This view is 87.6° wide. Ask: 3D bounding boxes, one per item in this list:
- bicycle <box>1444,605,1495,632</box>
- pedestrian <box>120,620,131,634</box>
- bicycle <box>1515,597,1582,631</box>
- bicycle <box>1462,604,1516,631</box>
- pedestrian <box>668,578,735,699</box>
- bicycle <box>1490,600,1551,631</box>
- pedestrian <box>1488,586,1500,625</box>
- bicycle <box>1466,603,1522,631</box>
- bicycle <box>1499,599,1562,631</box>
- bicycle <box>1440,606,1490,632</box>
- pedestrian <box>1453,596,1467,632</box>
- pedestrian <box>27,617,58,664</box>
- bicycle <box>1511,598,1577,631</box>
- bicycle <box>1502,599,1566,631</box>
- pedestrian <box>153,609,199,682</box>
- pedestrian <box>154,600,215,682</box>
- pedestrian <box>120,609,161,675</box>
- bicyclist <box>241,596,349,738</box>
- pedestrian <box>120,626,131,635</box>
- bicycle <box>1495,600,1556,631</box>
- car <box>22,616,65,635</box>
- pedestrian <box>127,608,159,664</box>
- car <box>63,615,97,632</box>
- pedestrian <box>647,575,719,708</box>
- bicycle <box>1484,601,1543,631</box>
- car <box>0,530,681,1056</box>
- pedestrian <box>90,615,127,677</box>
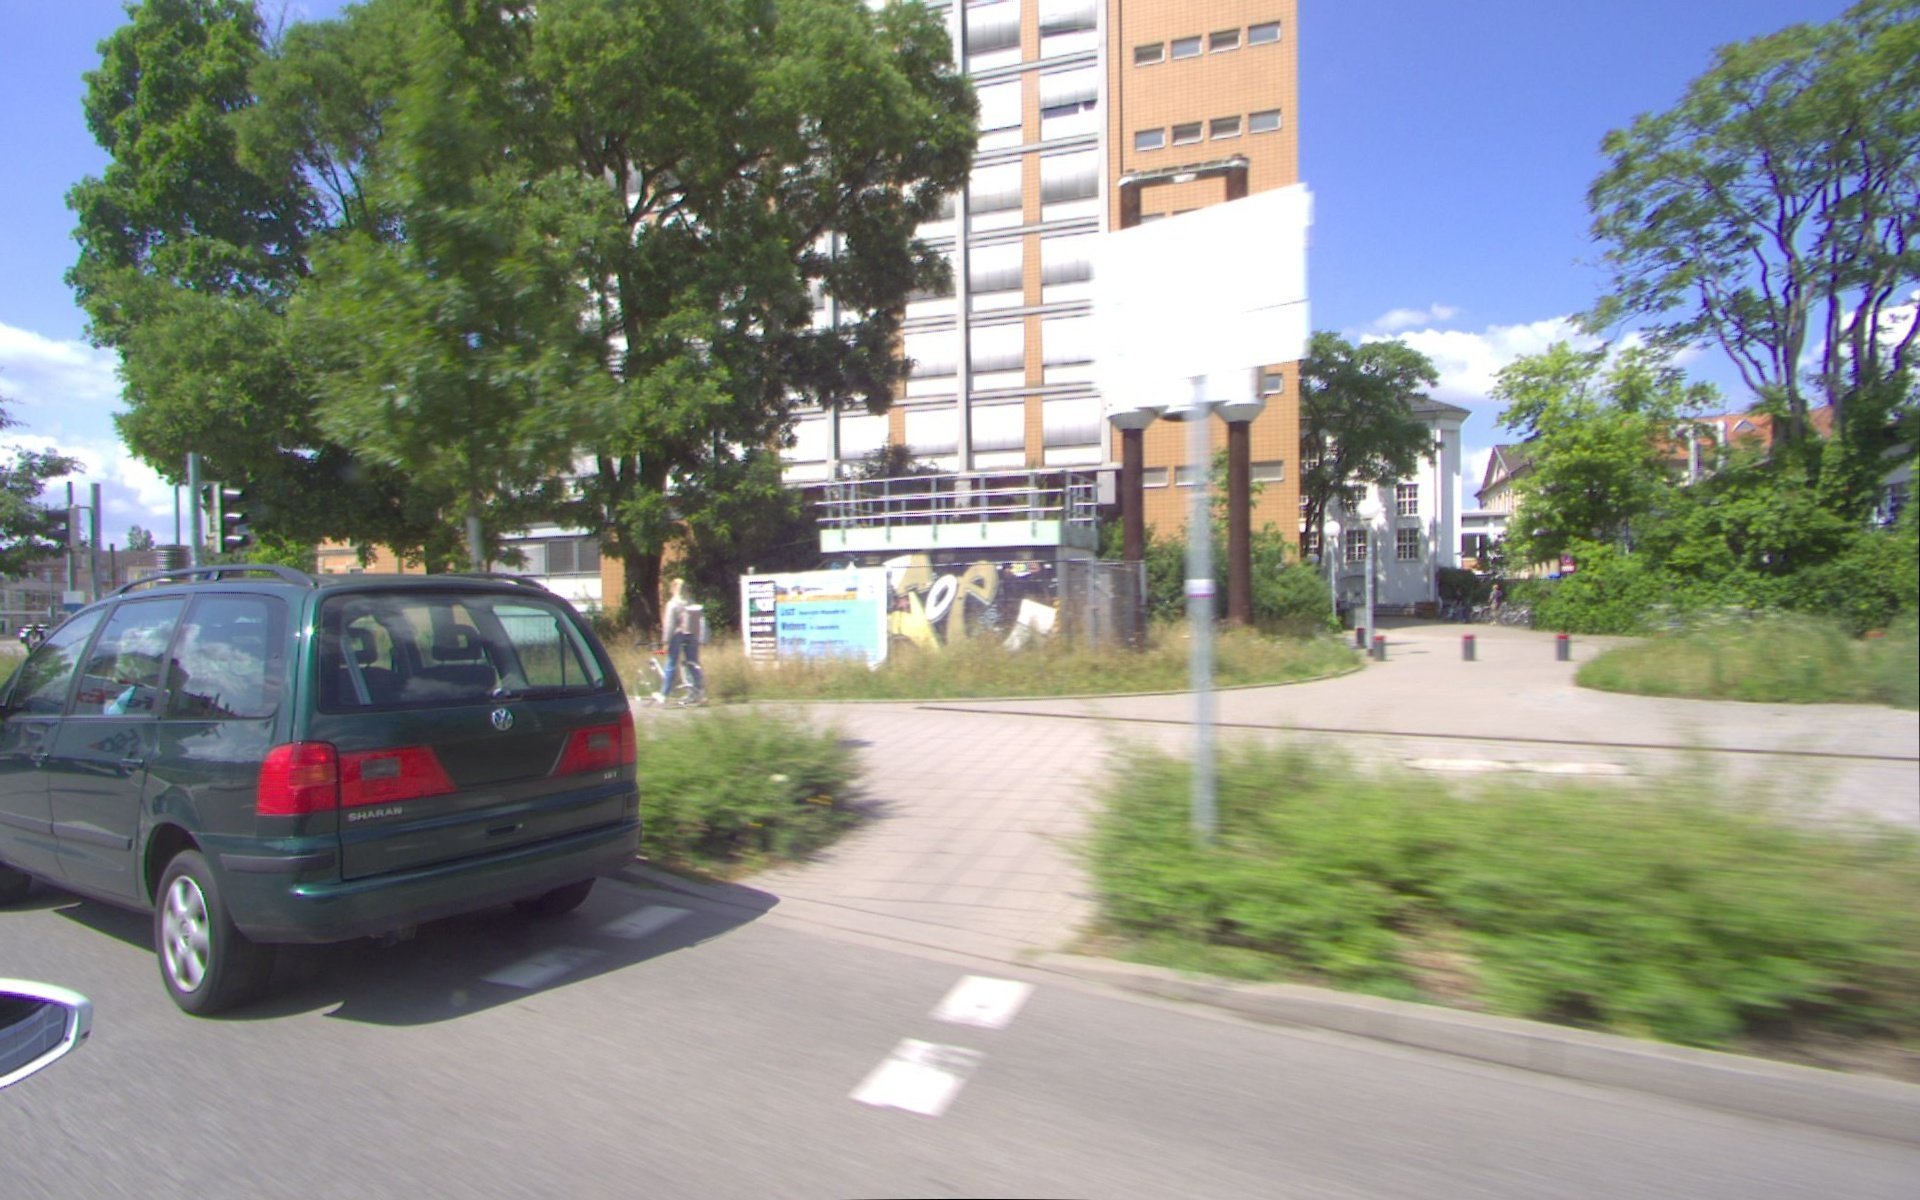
[{"bbox_3d":[27.346,1.002,53.799,2.326,1.364,0.638,-1,-1,16],"label":"bicycle"},{"bbox_3d":[-86.281,2.782,103.548,0.684,1.476,0.677,0,-1,-28],"label":"pedestrian"},{"bbox_3d":[24.724,0.594,42.097,2.326,1.364,0.638,-1,-1,16],"label":"bicycle"},{"bbox_3d":[26.833,0.896,50.794,2.326,1.364,0.638,-1,-1,16],"label":"bicycle"},{"bbox_3d":[-3.895,0.561,15.141,0.600,1.776,0.748,0,2,29],"label":"pedestrian"},{"bbox_3d":[25.811,0.733,46.153,2.326,1.364,0.638,-1,-1,16],"label":"bicycle"},{"bbox_3d":[25.766,0.265,48.303,0.409,1.874,0.364,-1,-1,16],"label":"pedestrian"},{"bbox_3d":[26.603,0.866,49.924,2.326,1.364,0.638,-1,-1,16],"label":"bicycle"},{"bbox_3d":[25.481,0.686,44.781,2.326,1.364,0.638,-1,-1,16],"label":"bicycle"},{"bbox_3d":[27.574,1.033,54.681,2.326,1.364,0.638,-1,-1,16],"label":"bicycle"},{"bbox_3d":[26.503,0.758,53.069,0.498,1.874,0.496,-1,-1,13],"label":"pedestrian"},{"bbox_3d":[-31.805,1.400,34.707,0.751,1.610,0.754,1,-2,-44],"label":"pedestrian"},{"bbox_3d":[24.901,0.616,42.739,2.326,1.364,0.638,-1,-1,16],"label":"bicycle"},{"bbox_3d":[25.290,0.663,44.127,2.326,1.364,0.638,-1,-1,16],"label":"bicycle"},{"bbox_3d":[-20.333,1.172,25.966,0.629,1.844,0.755,-1,-1,31],"label":"pedestrian"},{"bbox_3d":[-18.252,0.956,23.584,0.767,1.846,0.755,-1,3,25],"label":"pedestrian"},{"bbox_3d":[-20.841,1.071,25.463,0.717,1.646,0.586,-1,-1,31],"label":"pedestrian"},{"bbox_3d":[-8.023,0.786,12.102,0.571,1.623,0.826,-2,2,29],"label":"bicyclist"},{"bbox_3d":[-86.258,3.125,103.504,0.518,0.918,1.554,0,-2,-28],"label":"pedestrian"},{"bbox_3d":[25.669,0.710,45.486,2.326,1.364,0.638,-1,-1,16],"label":"bicycle"},{"bbox_3d":[-82.425,2.248,90.079,1.859,1.663,3.939,0,0,-27],"label":"car"},{"bbox_3d":[-27.519,1.206,33.717,0.667,1.844,0.751,-2,-2,44],"label":"pedestrian"},{"bbox_3d":[-87.348,2.339,99.441,1.861,1.663,3.934,0,0,-32],"label":"car"},{"bbox_3d":[-3.923,0.567,14.213,0.600,1.827,0.748,0,2,29],"label":"pedestrian"},{"bbox_3d":[26.152,0.775,47.374,2.326,1.364,0.638,-1,-1,16],"label":"bicycle"},{"bbox_3d":[-3.688,0.706,5.271,4.384,1.744,1.792,-1,-2,32],"label":"car"},{"bbox_3d":[-23.525,1.252,27.664,0.645,1.648,0.767,-4,2,-44],"label":"pedestrian"}]
